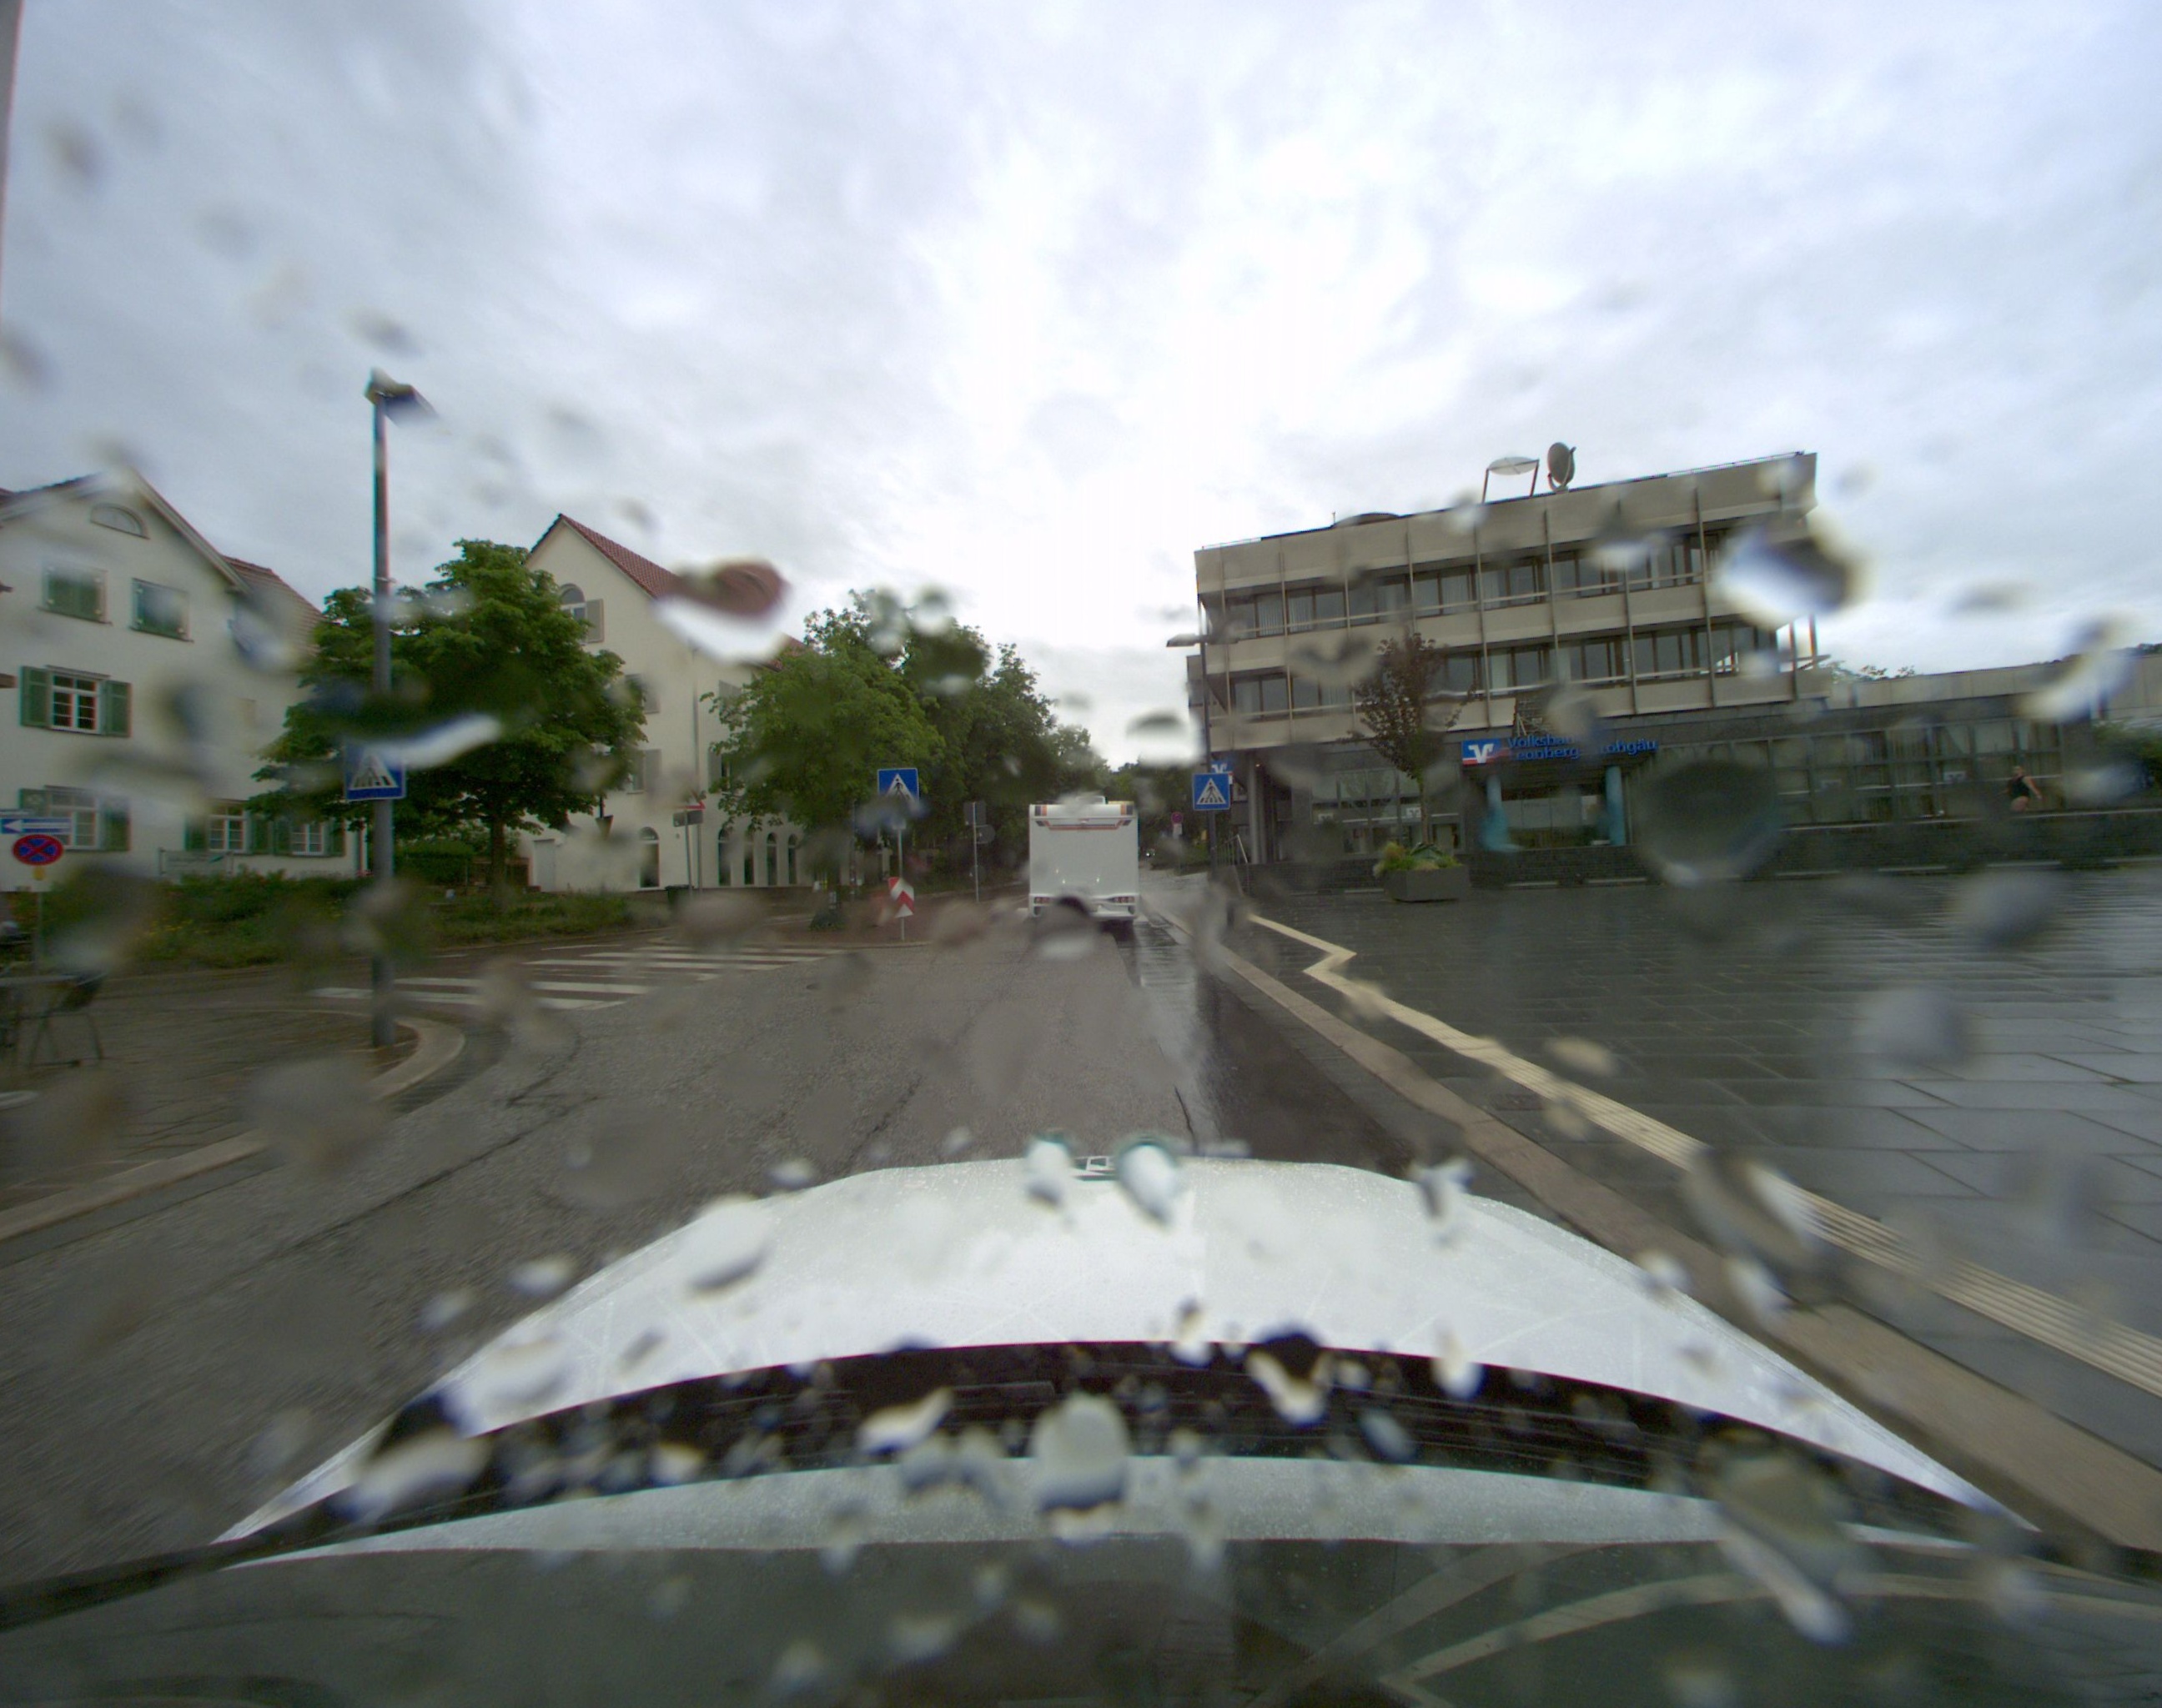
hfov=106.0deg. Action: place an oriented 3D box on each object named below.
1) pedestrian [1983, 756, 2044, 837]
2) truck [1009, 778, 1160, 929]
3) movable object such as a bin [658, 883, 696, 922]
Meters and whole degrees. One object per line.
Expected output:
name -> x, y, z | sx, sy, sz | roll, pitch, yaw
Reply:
pedestrian -> 25.823, -1.576, 22.572 | 0.751, 2.147, 0.662 | -4, -2, 21
truck -> 0.123, 0.060, 19.153 | 2.796, 2.797, 6.107 | -4, -2, 1
movable object such as a bin -> -11.675, 1.410, 23.546 | 0.628, 1.059, 0.702 | -5, -2, 26
